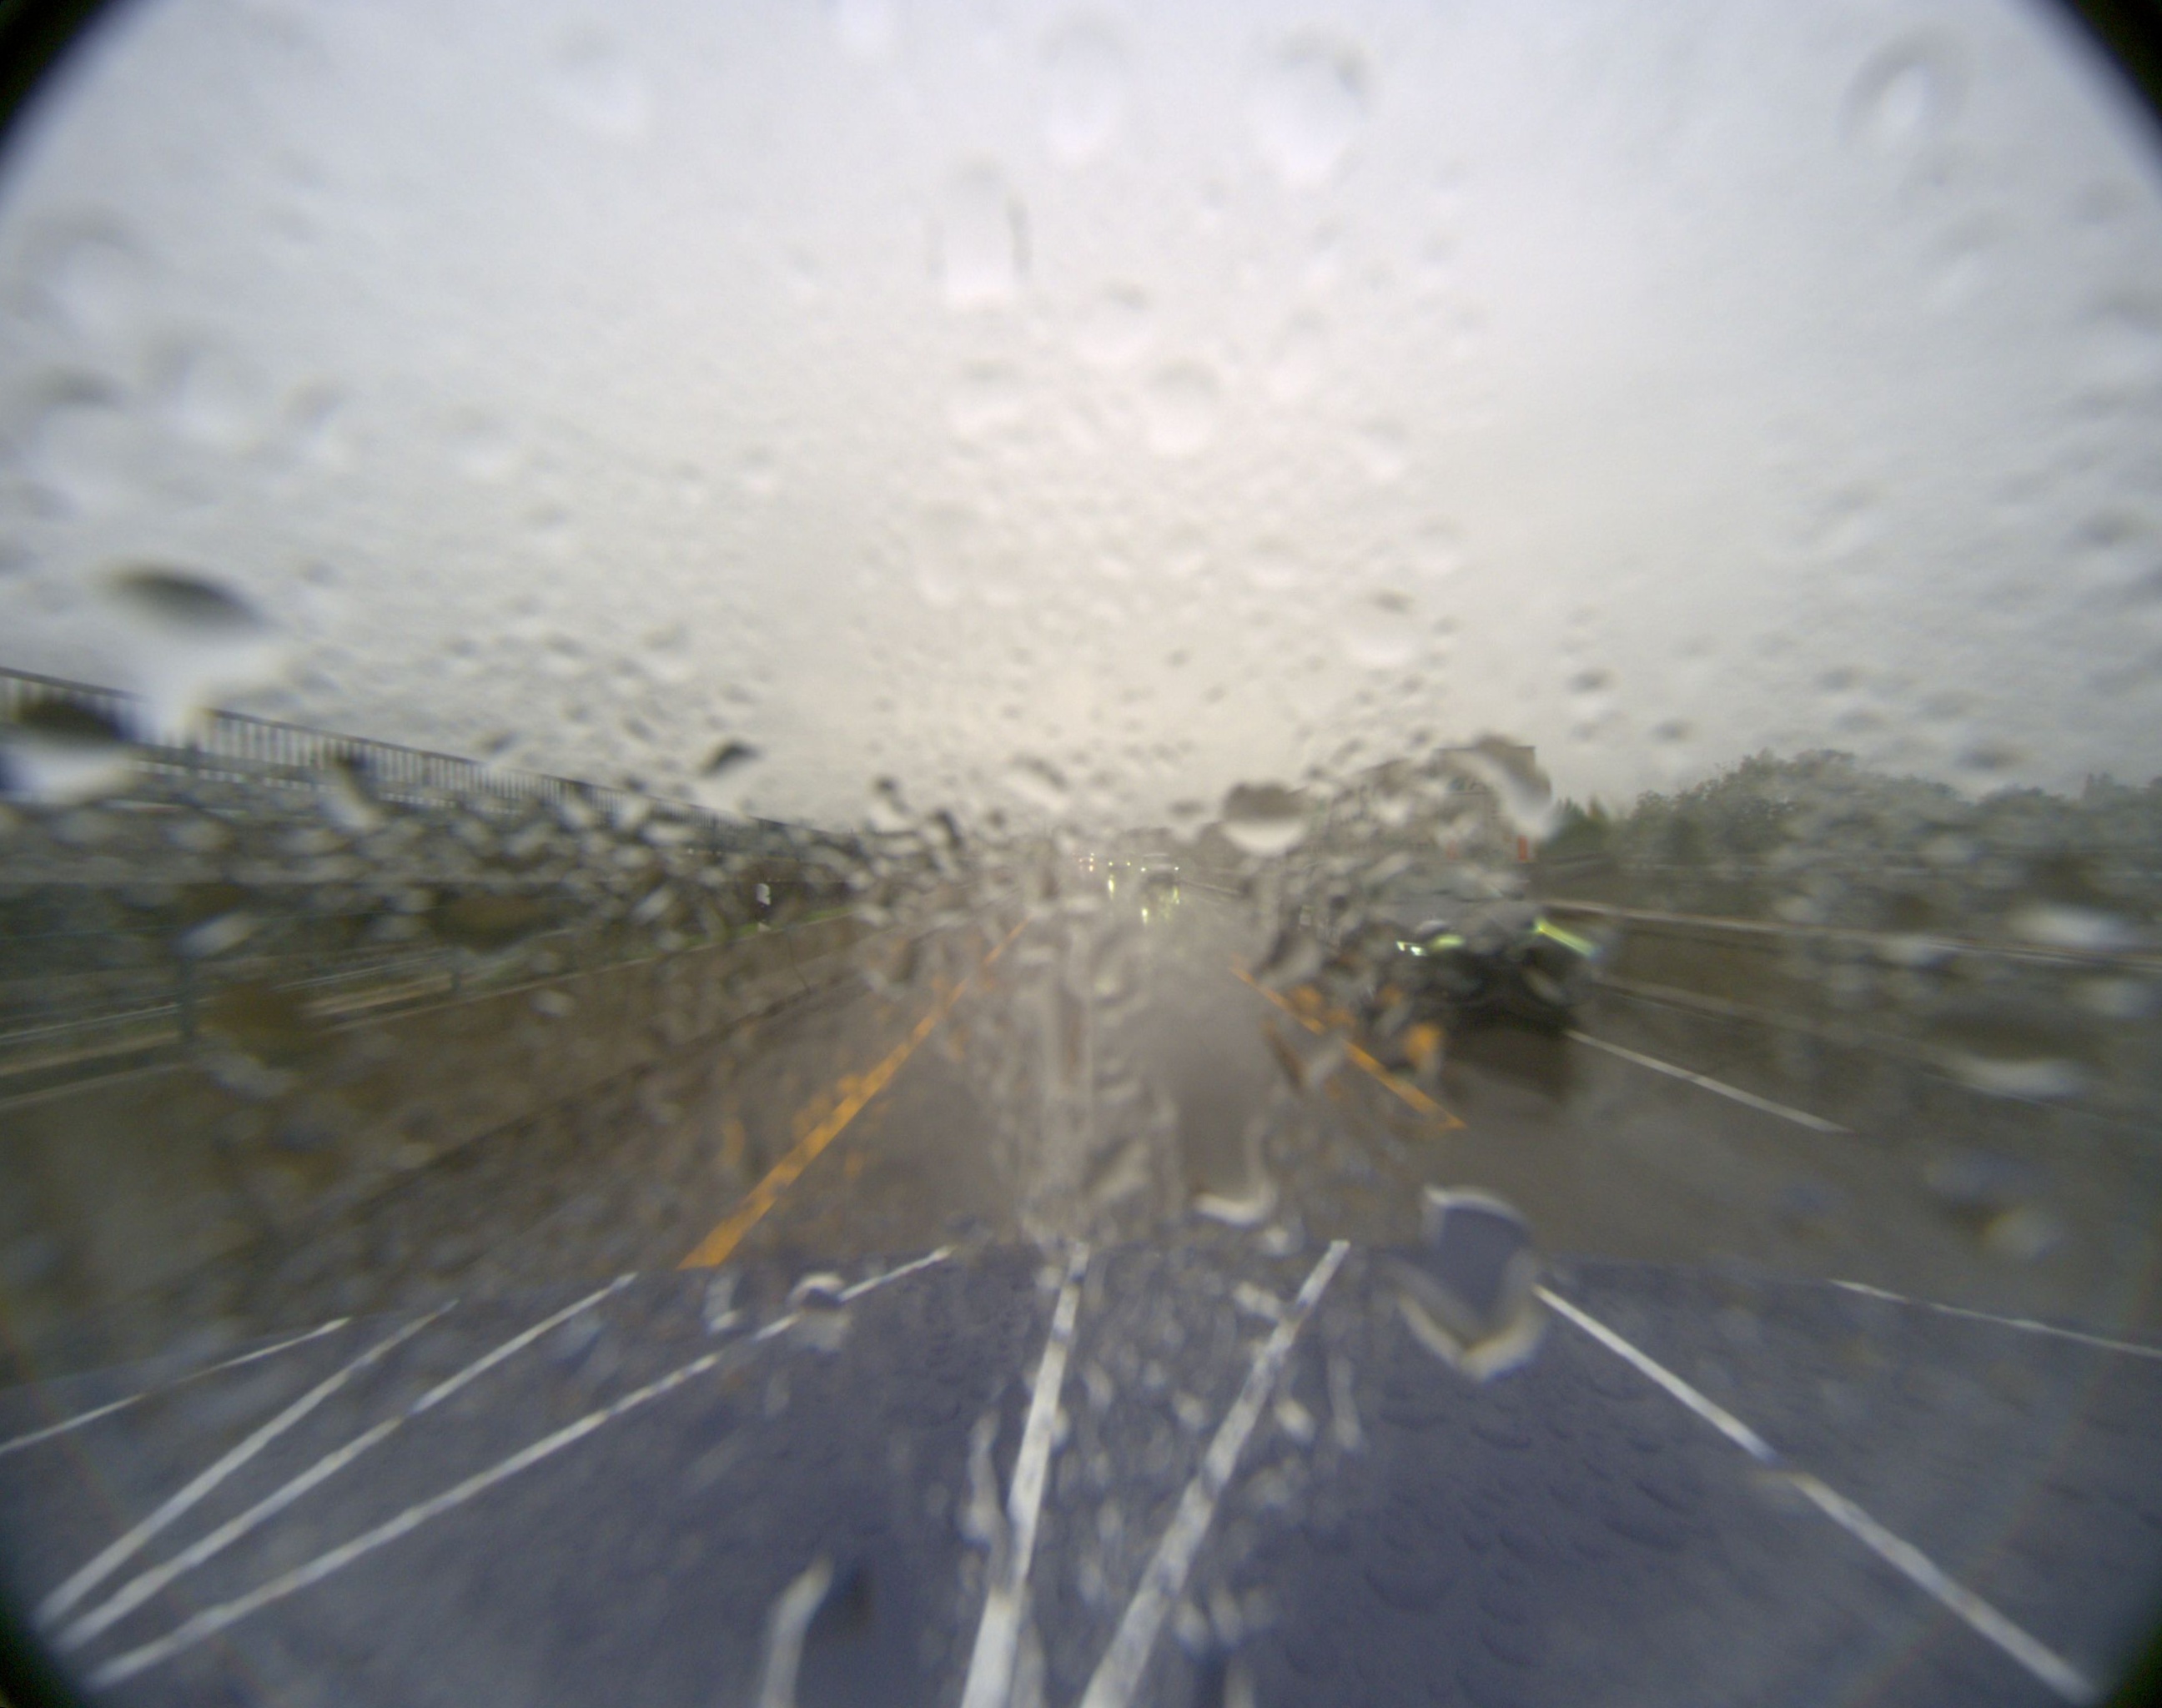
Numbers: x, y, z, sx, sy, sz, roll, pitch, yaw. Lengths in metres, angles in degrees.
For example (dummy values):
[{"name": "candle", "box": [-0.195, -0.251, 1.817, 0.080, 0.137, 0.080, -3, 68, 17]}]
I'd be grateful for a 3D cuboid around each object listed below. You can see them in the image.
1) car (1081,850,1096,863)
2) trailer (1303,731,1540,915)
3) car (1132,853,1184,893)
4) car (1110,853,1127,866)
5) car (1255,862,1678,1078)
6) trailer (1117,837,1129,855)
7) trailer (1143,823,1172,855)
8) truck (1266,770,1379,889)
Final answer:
[{"name": "car", "box": [1.053, 0.300, 111.410, 1.999, 1.762, 3.999, -2, 1, 0]}, {"name": "trailer", "box": [9.976, -0.836, 24.190, 2.491, 4.417, 11.193, -2, 1, 0]}, {"name": "car", "box": [3.560, 0.832, 35.835, 1.972, 1.670, 3.999, -2, 1, -1]}, {"name": "car", "box": [3.204, 0.470, 64.915, 1.335, 1.105, 3.199, 1, 0, 0]}, {"name": "car", "box": [3.352, 0.871, 7.927, 1.944, 1.518, 4.795, 0, 0, -1]}, {"name": "trailer", "box": [10.341, -1.995, 189.948, 2.693, 4.253, 13.071, -2, 1, 2]}, {"name": "trailer", "box": [10.400, -2.026, 104.514, 2.657, 4.085, 12.312, -2, 1, 0]}, {"name": "truck", "box": [10.033, -0.969, 32.342, 2.509, 4.437, 6.880, -2, 1, 0]}]
